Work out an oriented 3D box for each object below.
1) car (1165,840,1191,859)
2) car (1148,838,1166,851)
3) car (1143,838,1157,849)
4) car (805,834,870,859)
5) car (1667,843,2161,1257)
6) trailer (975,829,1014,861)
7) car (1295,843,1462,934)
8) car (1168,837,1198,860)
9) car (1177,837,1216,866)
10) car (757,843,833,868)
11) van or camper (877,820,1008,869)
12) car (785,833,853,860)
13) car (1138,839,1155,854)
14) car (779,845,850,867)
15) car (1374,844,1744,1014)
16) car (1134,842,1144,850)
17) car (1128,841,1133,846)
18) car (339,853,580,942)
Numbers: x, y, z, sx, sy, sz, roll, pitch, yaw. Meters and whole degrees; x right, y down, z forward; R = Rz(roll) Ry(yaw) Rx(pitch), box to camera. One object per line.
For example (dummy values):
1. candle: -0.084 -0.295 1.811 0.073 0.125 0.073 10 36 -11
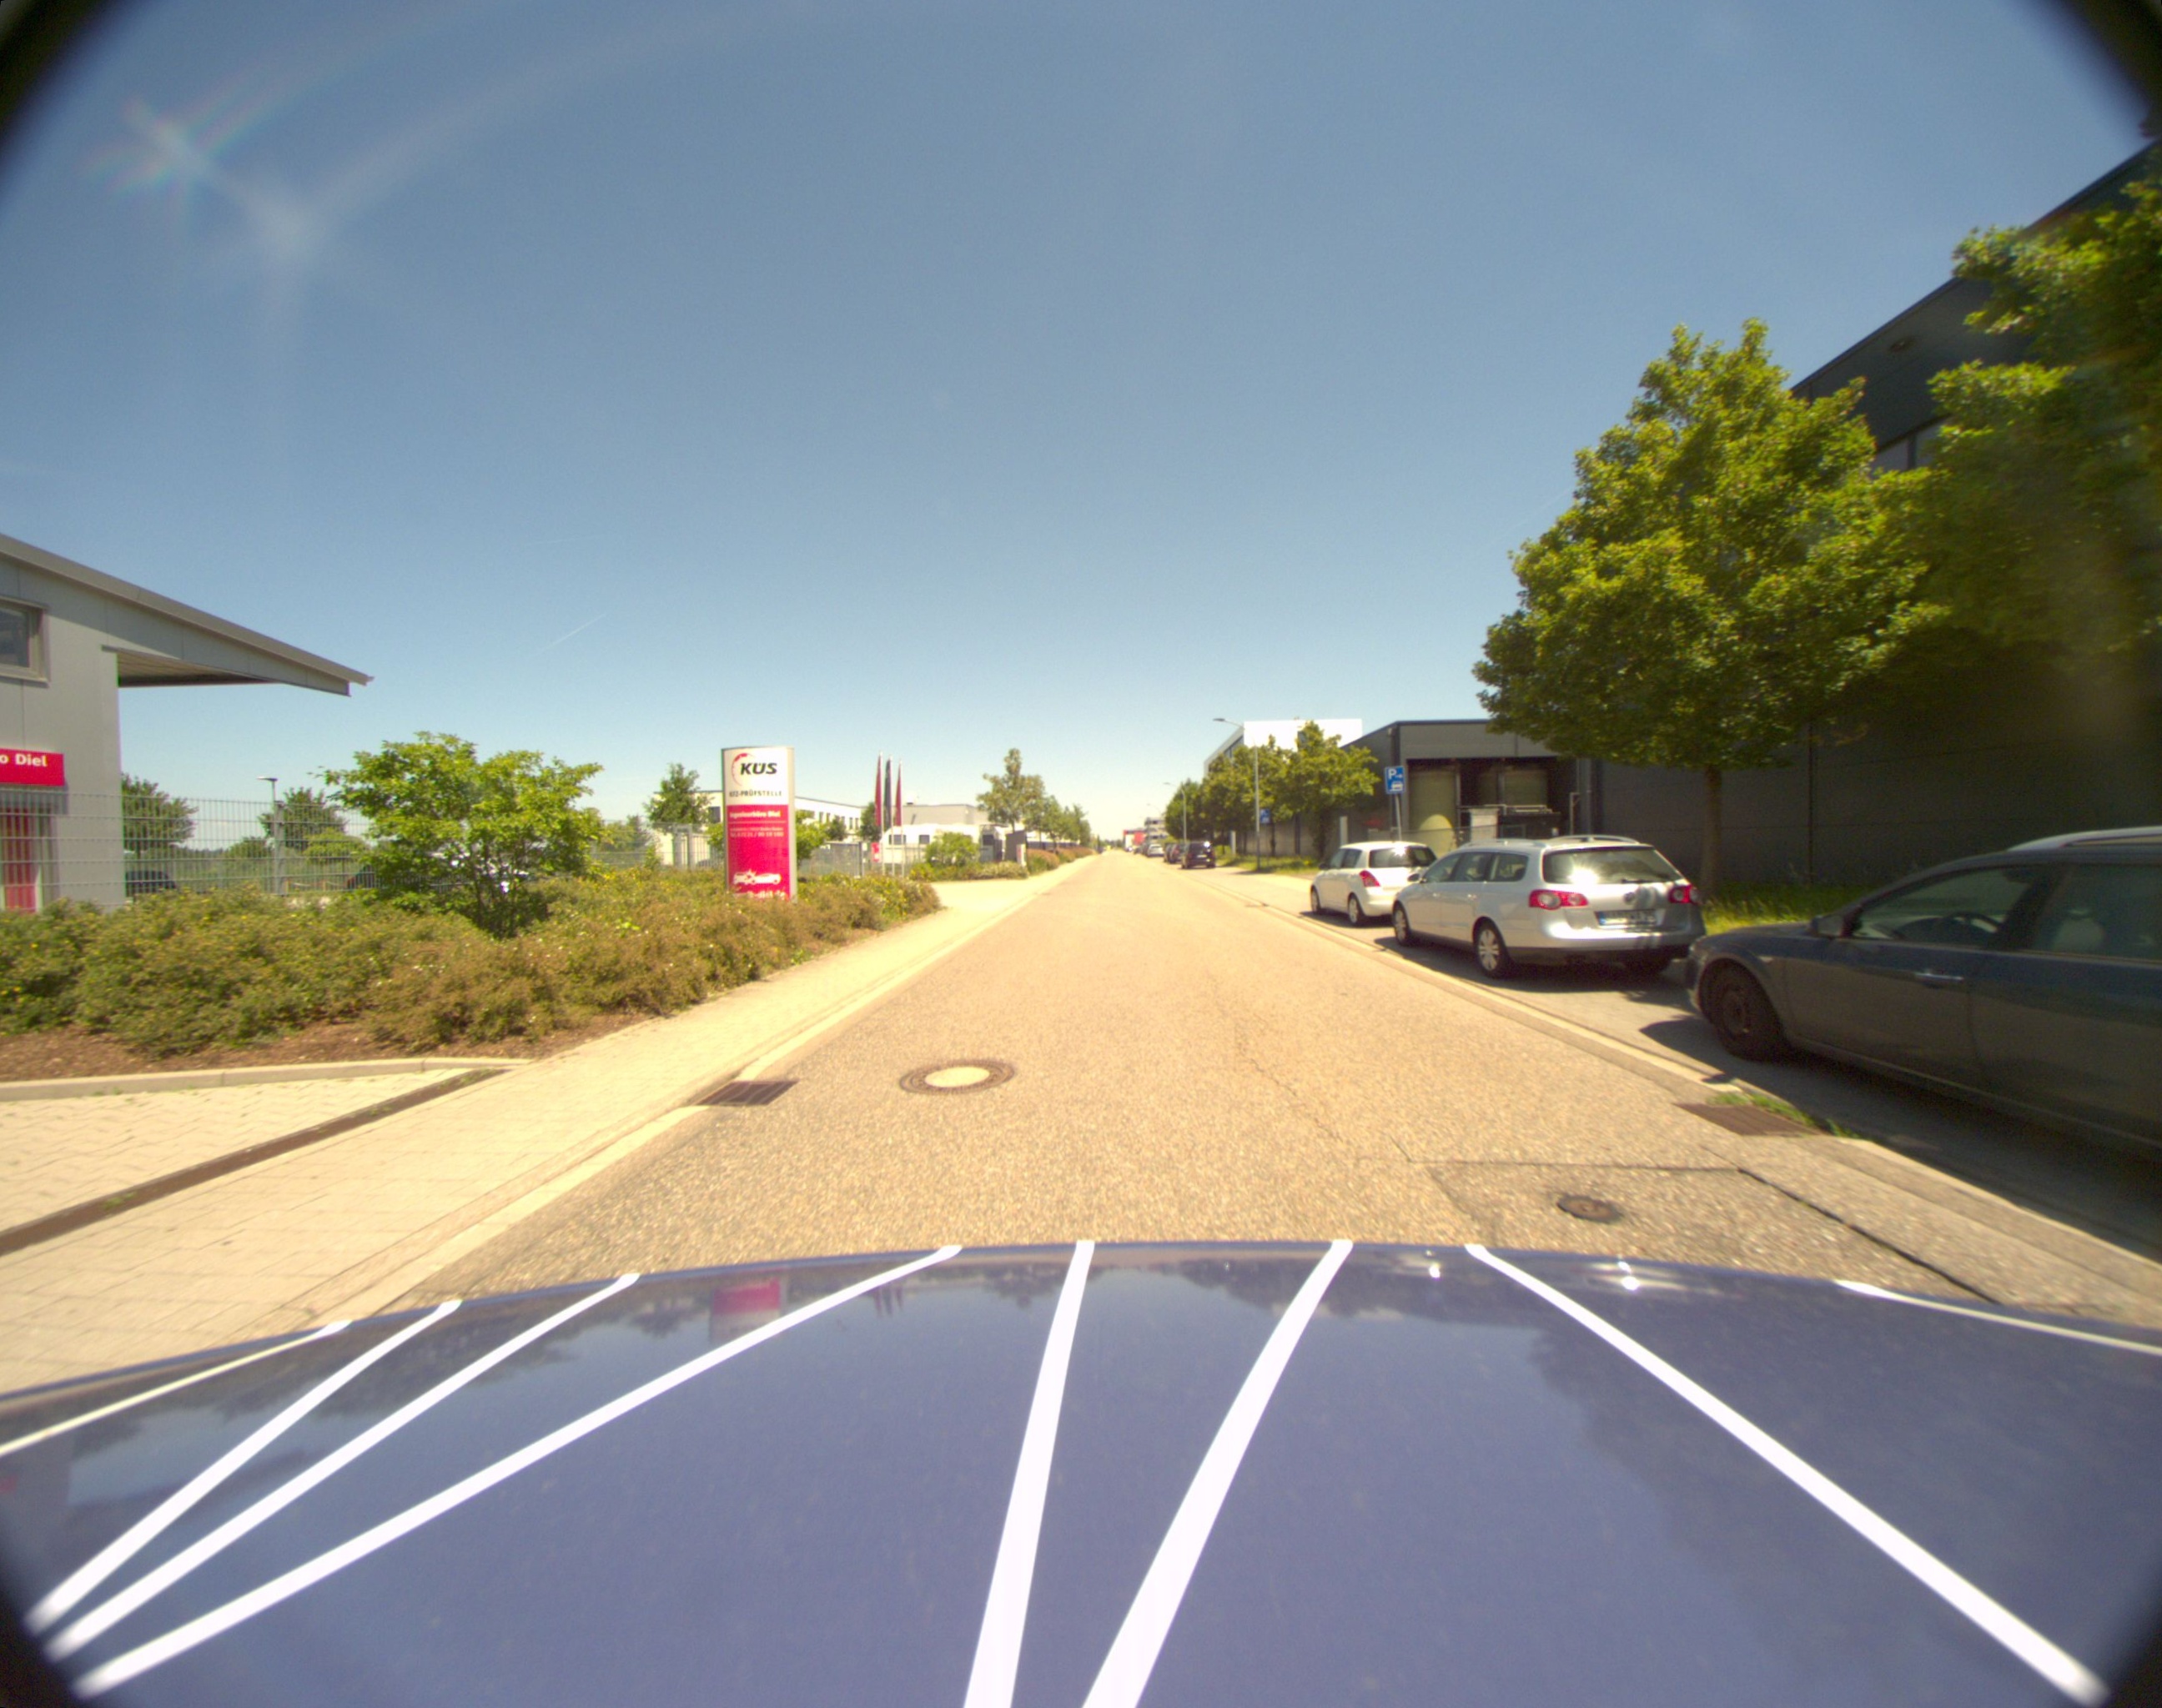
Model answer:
1. car: 8.198 -0.399 64.536 1.775 1.423 4.200 -2 1 2
2. car: 8.687 -1.140 87.445 1.775 1.423 3.940 -2 1 3
3. car: 10.171 -1.526 112.257 1.775 1.578 4.481 -2 0 1
4. car: -17.796 -0.538 55.688 4.051 1.753 1.918 -1 1 2
5. car: 4.993 0.739 3.241 1.803 1.467 4.638 -2 1 7
6. trailer: -6.691 -0.709 58.825 2.830 2.390 1.419 0 1 -1
7. car: 5.574 0.557 14.778 1.725 1.467 3.856 -2 1 0
8. car: 7.800 -0.458 58.485 1.775 1.602 4.851 -2 1 2
9. car: 6.978 -0.186 46.356 1.775 1.602 4.247 -2 1 2
10. car: -18.051 0.094 48.065 4.051 1.540 1.747 -1 1 2
11. van or camper: -7.697 -0.553 42.695 6.773 2.570 2.635 -1 1 2
12. car: -18.290 -0.543 53.252 4.051 1.796 1.918 -1 1 2
13. car: 8.560 -1.022 99.282 1.775 1.614 4.582 -8 1 3
14. car: -17.597 0.127 50.286 4.051 1.423 1.747 -1 1 2
15. car: 5.252 0.665 9.234 1.803 1.467 4.554 -2 1 3
16. car: 11.569 -1.651 151.911 1.678 1.442 4.069 -8 1 3
17. car: 16.986 -3.520 262.441 1.694 1.482 3.660 -4 1 3
18. car: -12.941 0.869 15.972 3.619 1.667 1.703 -1 1 2
